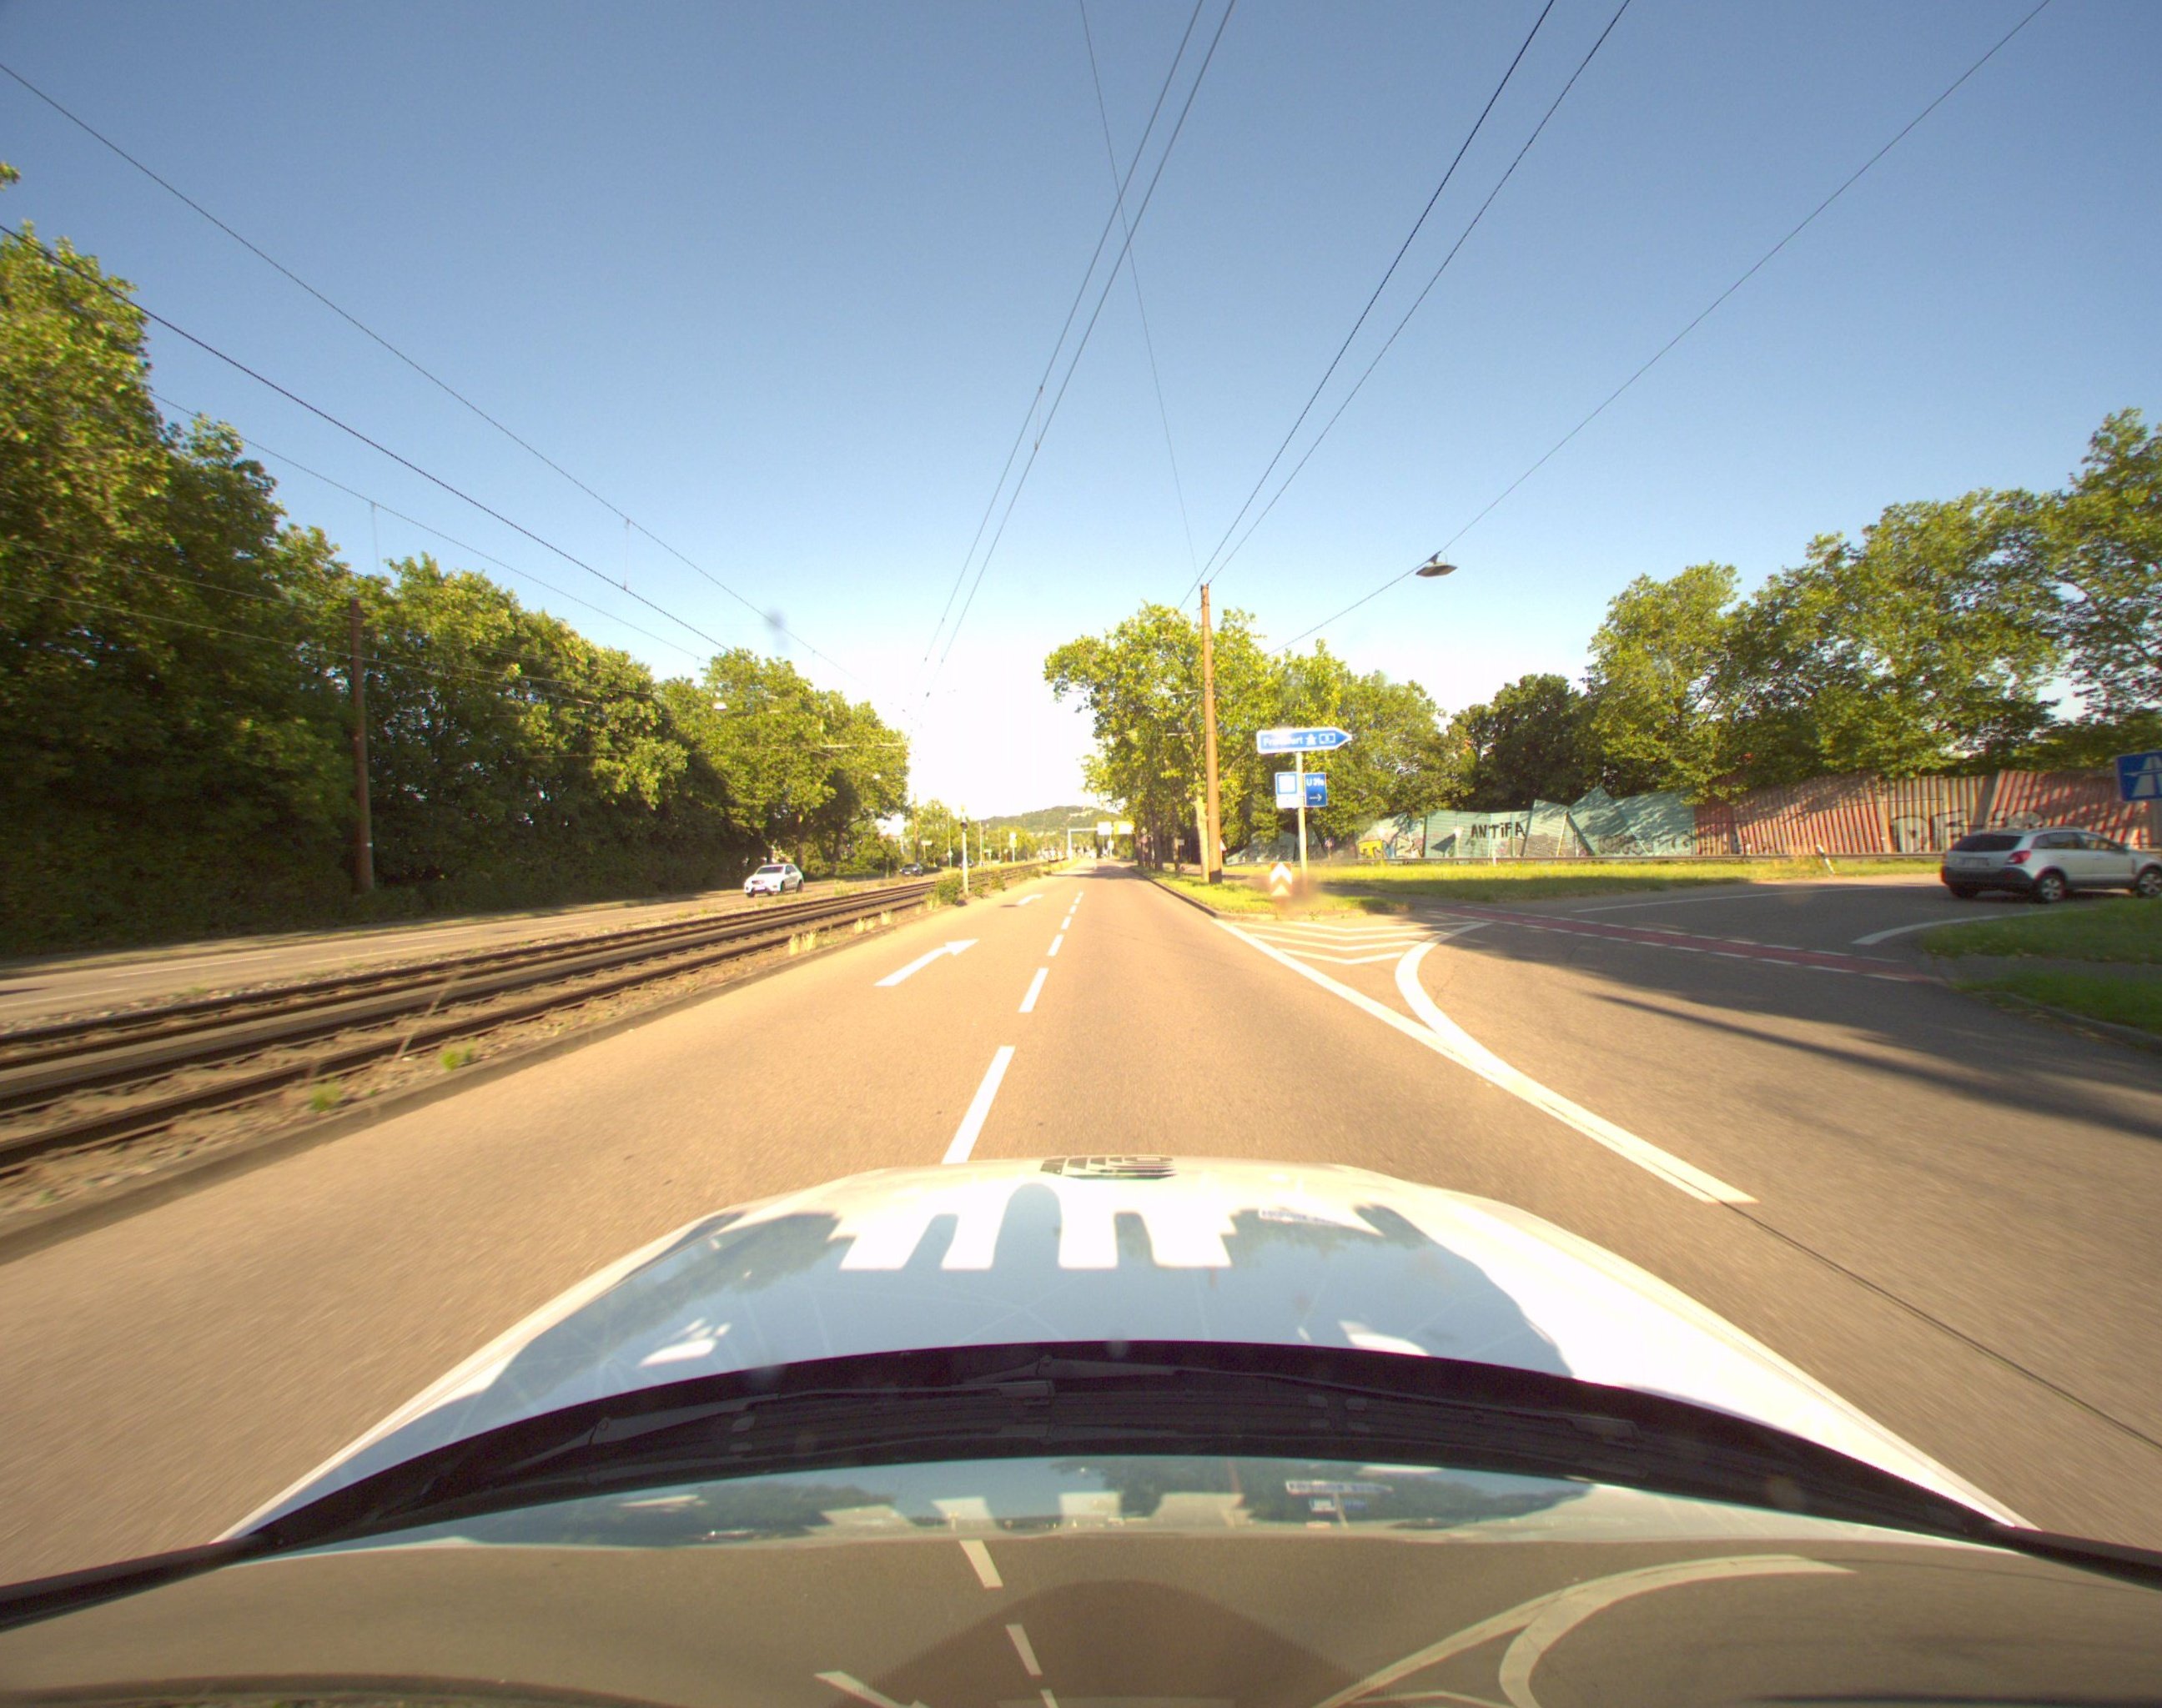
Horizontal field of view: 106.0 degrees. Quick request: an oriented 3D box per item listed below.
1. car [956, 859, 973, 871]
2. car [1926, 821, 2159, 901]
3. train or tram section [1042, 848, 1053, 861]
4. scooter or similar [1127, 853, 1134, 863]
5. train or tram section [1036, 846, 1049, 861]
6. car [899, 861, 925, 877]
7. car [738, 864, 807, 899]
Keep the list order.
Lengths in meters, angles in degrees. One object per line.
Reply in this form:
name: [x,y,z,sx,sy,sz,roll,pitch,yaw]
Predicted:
car: [-17.735,1.622,124.297,1.893,1.694,4.938,-4,0,-1]
car: [23.266,0.158,19.784,3.845,1.773,1.811,-1,-1,-6]
train or tram section: [-10.581,0.300,260.767,2.814,3.950,12.706,-1,0,0]
scooter or similar: [13.779,1.221,226.441,1.675,2.716,4.869,-1,0,1]
train or tram section: [-10.598,-0.026,223.645,2.795,3.902,12.330,-1,0,0]
car: [-17.527,1.560,84.448,1.706,1.468,4.346,-4,0,-1]
car: [-17.076,1.480,45.391,1.957,1.707,4.941,-4,0,-1]
